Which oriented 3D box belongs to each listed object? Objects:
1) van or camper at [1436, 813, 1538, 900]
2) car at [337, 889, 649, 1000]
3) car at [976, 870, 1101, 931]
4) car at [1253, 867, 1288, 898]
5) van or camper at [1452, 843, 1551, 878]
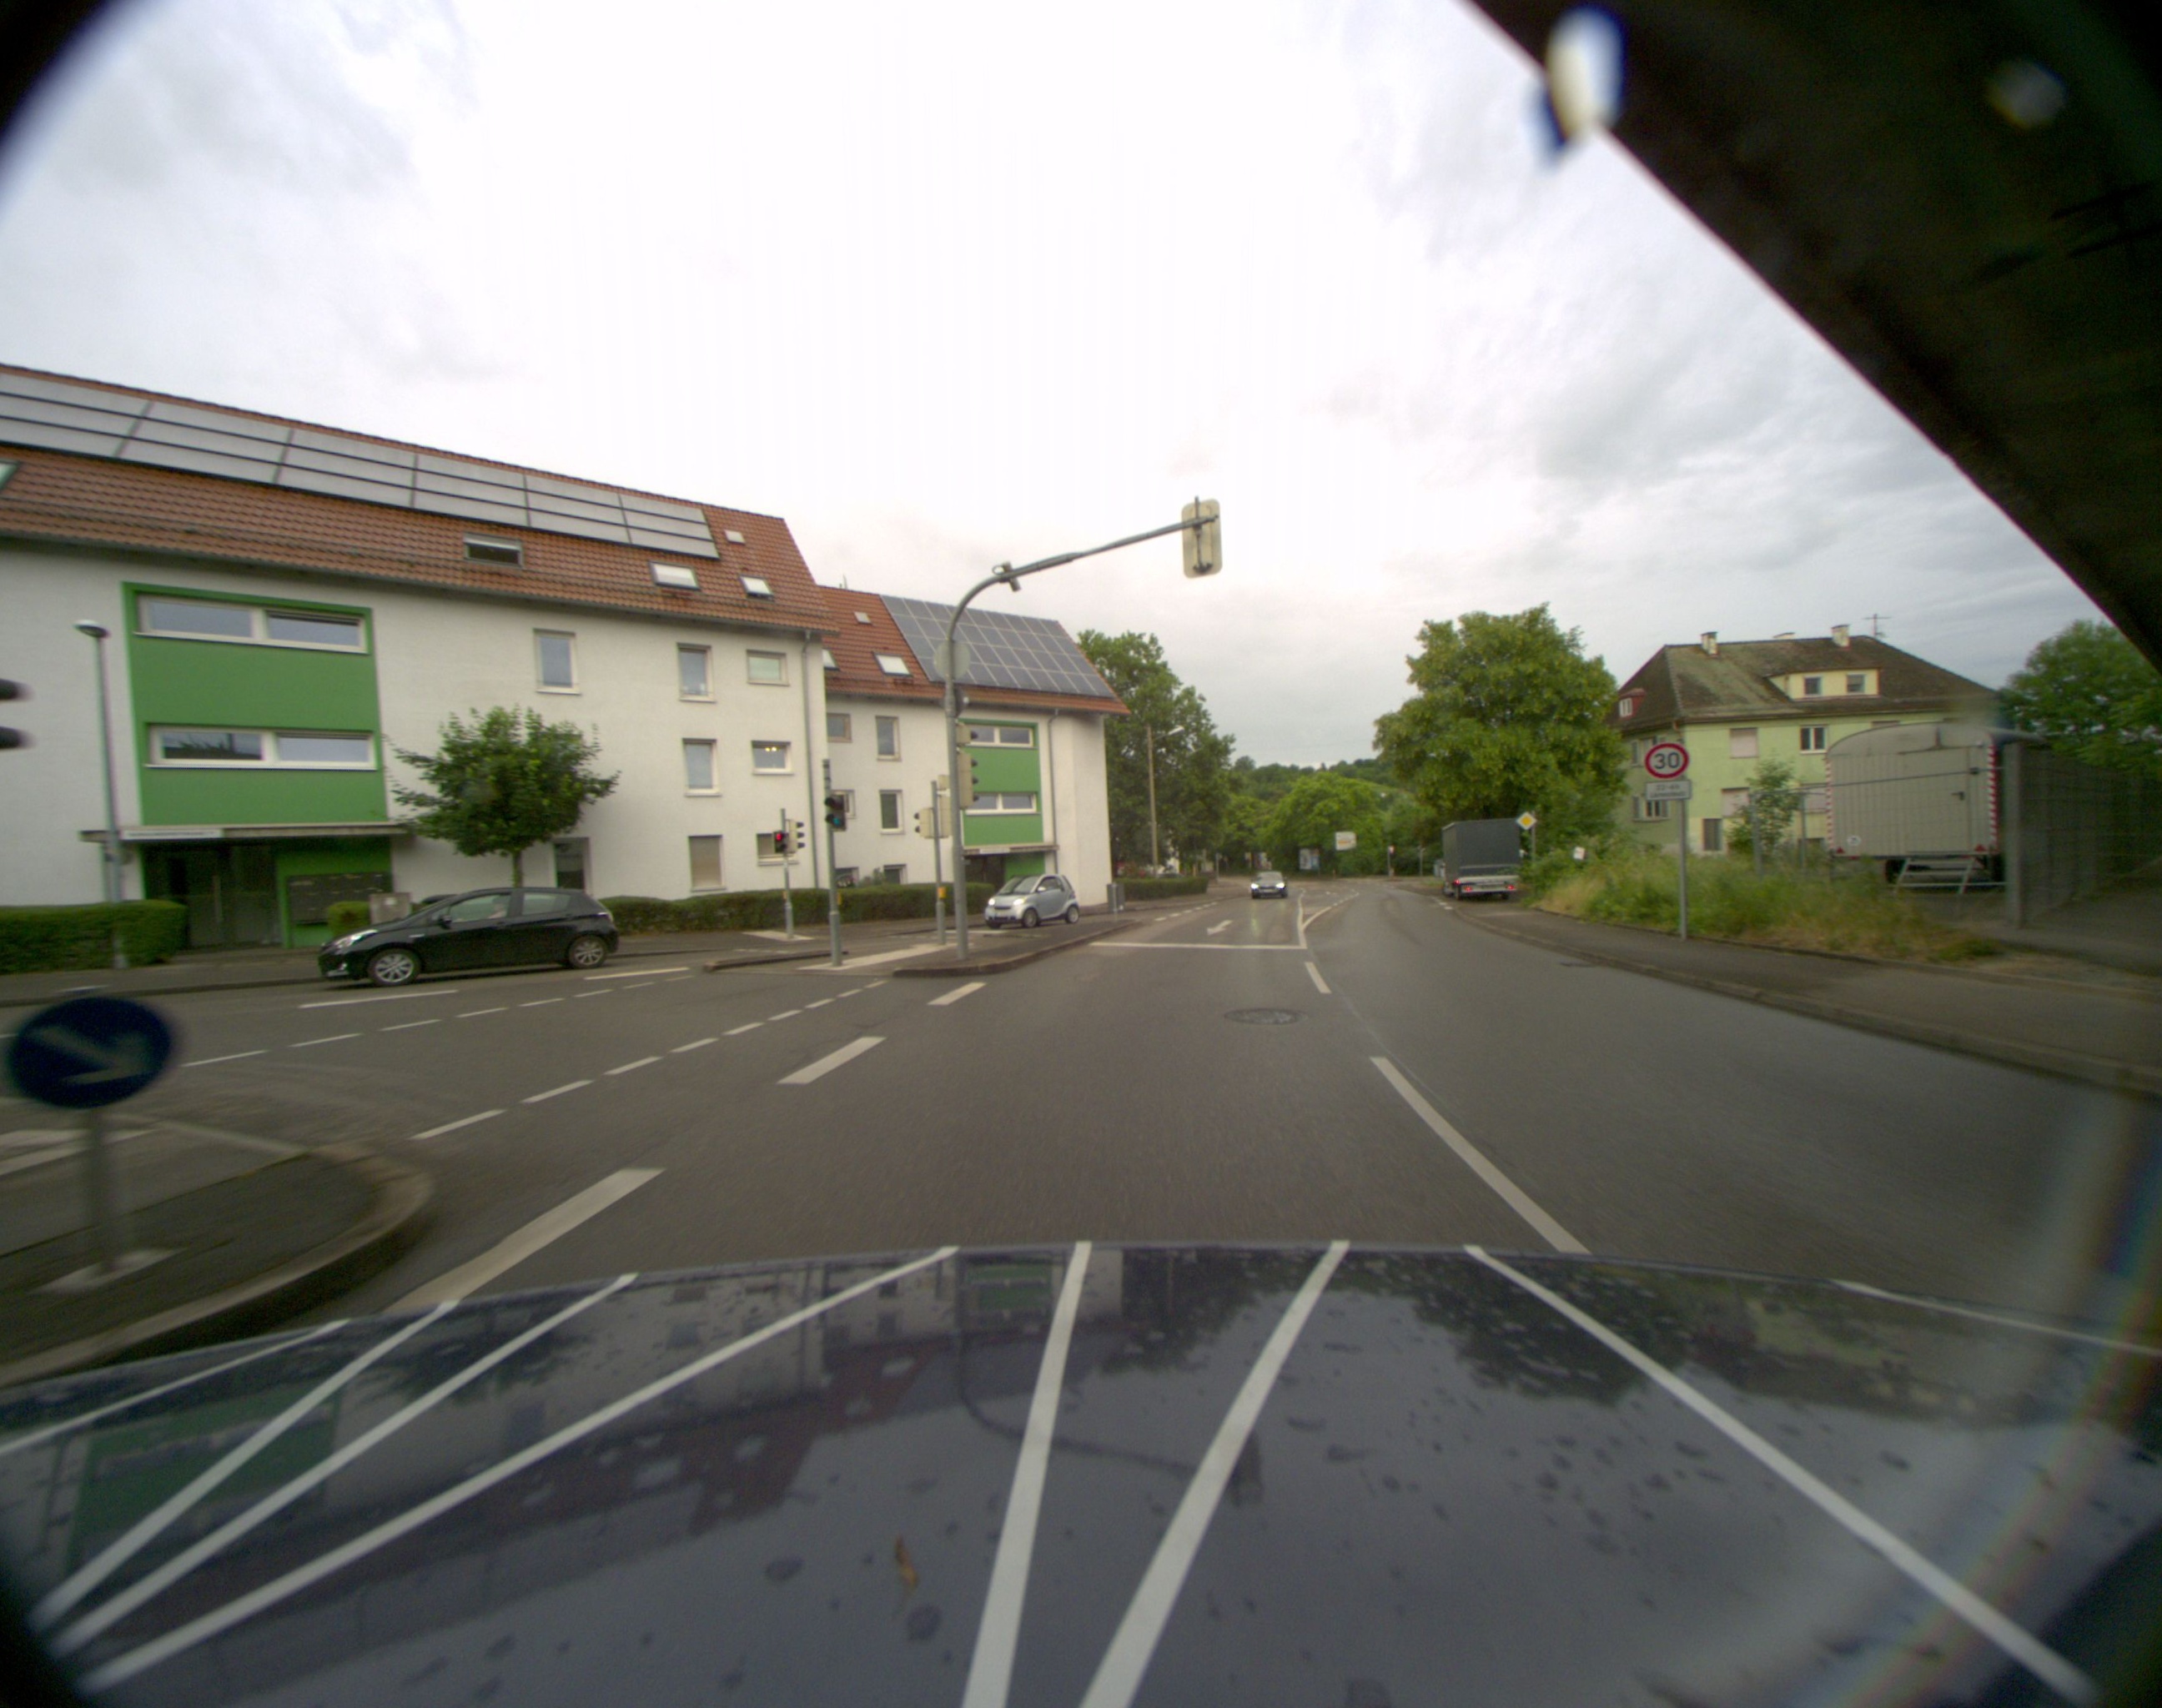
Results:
[{"bbox_3d":[17.682,0.156,33.605,2.701,3.314,7.773,-3,-1,19],"label":"van or camper"},{"bbox_3d":[-9.854,1.418,12.957,4.008,1.449,1.641,-1,-2,-44],"label":"car"},{"bbox_3d":[-1.170,1.323,22.303,1.641,1.548,3.636,-3,-1,37],"label":"car"},{"bbox_3d":[10.337,1.518,41.590,1.705,1.548,4.005,-2,-1,13],"label":"car"},{"bbox_3d":[33.624,0.520,60.900,6.693,2.506,2.223,-2,-1,-1],"label":"van or camper"}]
